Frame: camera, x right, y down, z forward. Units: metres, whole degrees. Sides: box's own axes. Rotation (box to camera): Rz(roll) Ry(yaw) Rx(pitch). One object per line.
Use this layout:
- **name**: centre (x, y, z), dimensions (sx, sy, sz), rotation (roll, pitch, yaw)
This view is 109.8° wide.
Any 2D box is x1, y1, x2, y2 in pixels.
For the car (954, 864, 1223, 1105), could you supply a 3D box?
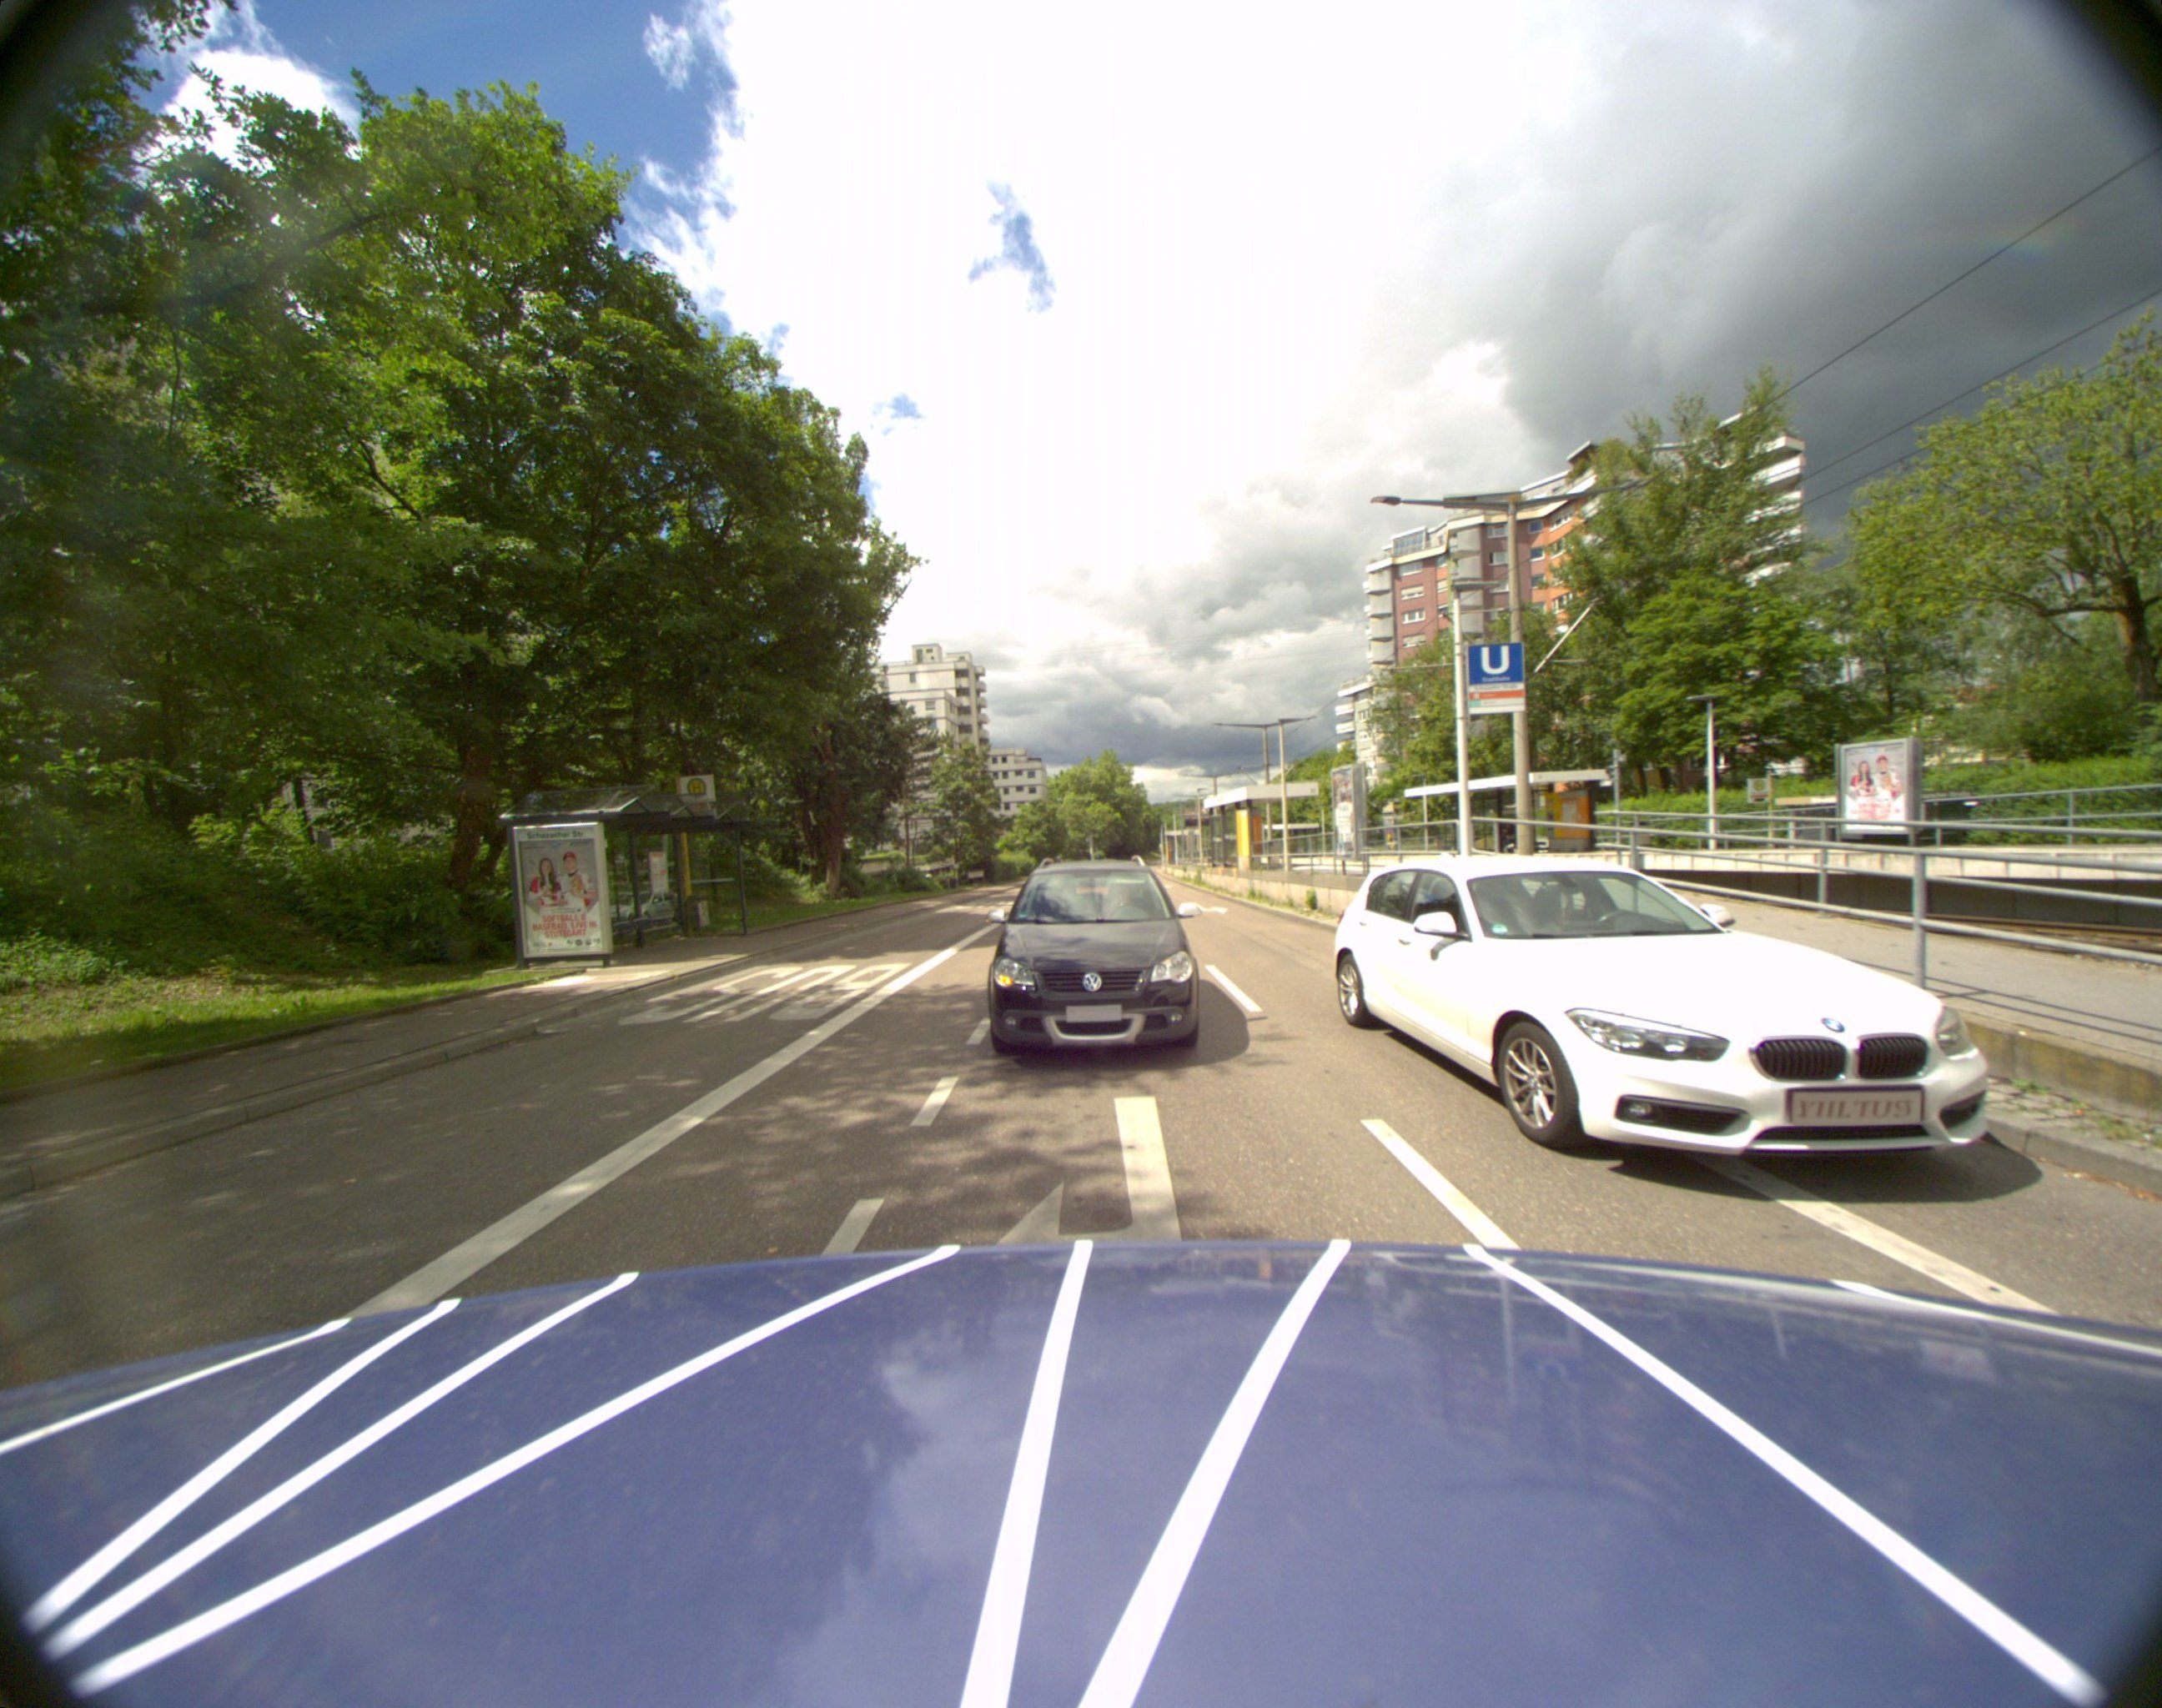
- **car**: centre (0.080, 0.902, 7.078), dimensions (1.732, 1.501, 4.000), rotation (-2, 0, 1)

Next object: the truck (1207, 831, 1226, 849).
- **truck**: centre (26.016, -2.690, 145.916), dimensions (2.420, 3.203, 7.263), rotation (-2, 0, 1)

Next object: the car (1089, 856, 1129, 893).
- **car**: centre (1.278, 0.929, 35.711), dimensions (1.732, 1.505, 4.000), rotation (-2, 1, 1)

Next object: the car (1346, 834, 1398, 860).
- **car**: centre (19.887, -0.466, 52.094), dimensions (1.998, 1.625, 4.460), rotation (-1, 0, 2)

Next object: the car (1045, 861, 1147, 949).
- **car**: centre (0.292, 0.922, 15.350), dimensions (1.732, 1.453, 4.000), rotation (-2, 0, 1)

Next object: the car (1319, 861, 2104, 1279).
- **car**: centre (3.015, 0.840, 4.876), dimensions (1.732, 1.453, 4.000), rotation (-2, 1, 1)

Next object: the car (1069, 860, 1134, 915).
- **car**: centre (0.674, 0.955, 23.116), dimensions (1.732, 1.452, 4.001), rotation (-2, 0, 3)
